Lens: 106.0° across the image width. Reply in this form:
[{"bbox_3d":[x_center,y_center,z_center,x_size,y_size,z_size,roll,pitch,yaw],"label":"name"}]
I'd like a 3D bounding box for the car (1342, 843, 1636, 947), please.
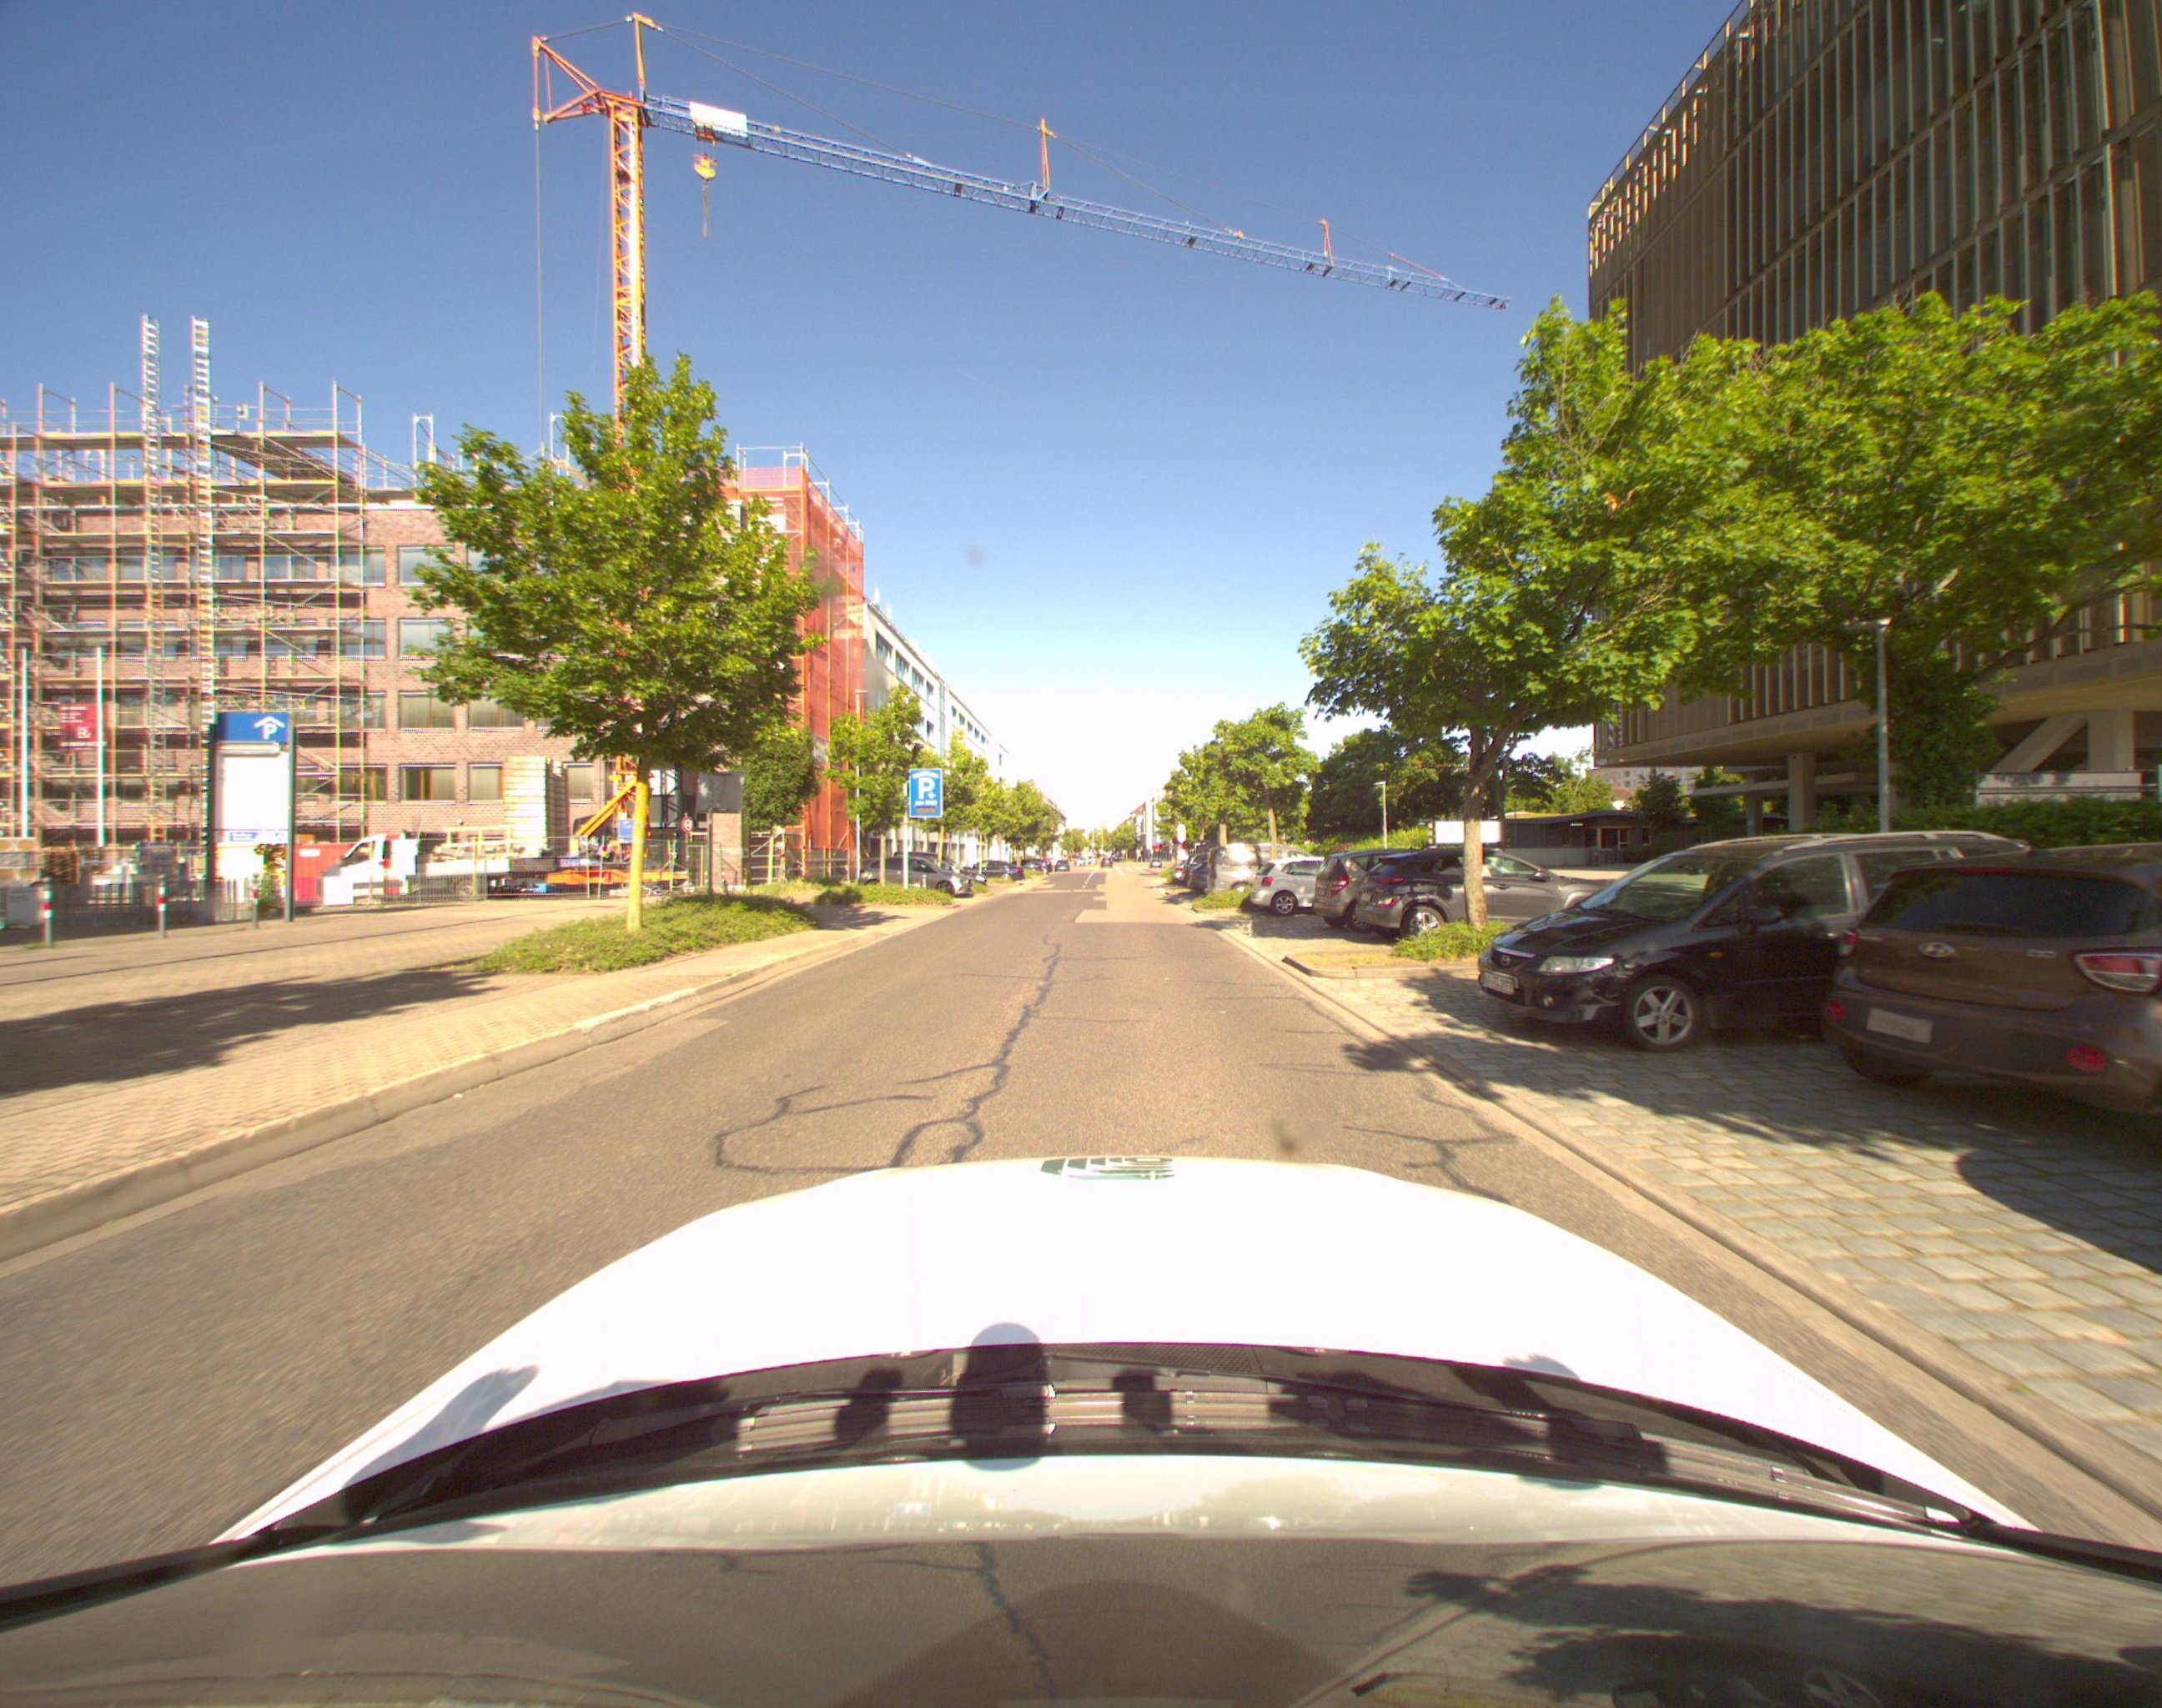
[{"bbox_3d":[6.636,0.653,13.608,3.972,1.538,1.862,-1,-1,2],"label":"car"}]

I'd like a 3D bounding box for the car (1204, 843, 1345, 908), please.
[{"bbox_3d":[5.894,0.625,25.116,3.972,1.879,1.683,-1,1,2],"label":"car"}]

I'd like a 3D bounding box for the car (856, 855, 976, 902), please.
[{"bbox_3d":[-6.340,0.930,31.568,4.247,1.665,1.599,-1,1,0],"label":"car"}]

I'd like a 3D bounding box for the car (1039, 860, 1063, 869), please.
[{"bbox_3d":[-5.420,1.860,147.824,4.083,1.474,1.818,-1,1,0],"label":"car"}]

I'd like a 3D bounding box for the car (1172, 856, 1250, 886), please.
[{"bbox_3d":[6.766,0.879,42.714,3.894,1.475,1.760,-1,-2,5],"label":"car"}]

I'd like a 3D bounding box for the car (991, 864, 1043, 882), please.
[{"bbox_3d":[-5.592,1.681,71.617,4.316,1.474,1.818,-1,1,1],"label":"car"}]

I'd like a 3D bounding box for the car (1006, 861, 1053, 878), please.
[{"bbox_3d":[-4.947,1.517,78.301,4.316,1.474,1.818,-1,1,1],"label":"car"}]

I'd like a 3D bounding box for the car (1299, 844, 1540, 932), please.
[{"bbox_3d":[6.584,0.647,16.216,3.972,1.582,2.032,-1,-1,2],"label":"car"}]

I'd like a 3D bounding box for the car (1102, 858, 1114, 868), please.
[{"bbox_3d":[4.122,1.332,125.460,1.804,1.474,4.113,-1,1,3],"label":"car"}]

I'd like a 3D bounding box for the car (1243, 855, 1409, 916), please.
[{"bbox_3d":[6.260,0.793,21.111,3.752,1.459,1.818,-1,-1,1],"label":"car"}]

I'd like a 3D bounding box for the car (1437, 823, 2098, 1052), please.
[{"bbox_3d":[5.480,0.618,6.917,4.130,1.580,1.741,-2,0,0],"label":"car"}]

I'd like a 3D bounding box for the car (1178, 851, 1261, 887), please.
[{"bbox_3d":[6.813,0.734,40.334,3.894,1.642,1.880,-1,1,5],"label":"car"}]

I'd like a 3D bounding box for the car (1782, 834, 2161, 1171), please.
[{"bbox_3d":[6.522,0.636,4.536,3.850,1.504,1.651,-1,0,-1],"label":"car"}]

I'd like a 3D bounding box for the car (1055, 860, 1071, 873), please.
[{"bbox_3d":[-2.147,1.509,98.784,1.805,1.474,4.111,-1,1,1],"label":"car"}]

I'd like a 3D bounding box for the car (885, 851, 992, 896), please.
[{"bbox_3d":[-6.272,0.846,36.200,4.313,1.861,1.819,-1,1,3],"label":"car"}]

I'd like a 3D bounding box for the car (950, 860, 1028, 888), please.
[{"bbox_3d":[-5.296,1.136,47.329,4.320,1.474,1.816,-1,1,-2],"label":"car"}]

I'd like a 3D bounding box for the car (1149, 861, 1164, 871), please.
[{"bbox_3d":[11.950,1.937,129.163,1.983,1.474,4.110,-1,1,0],"label":"car"}]

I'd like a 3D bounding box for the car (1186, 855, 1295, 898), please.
[{"bbox_3d":[5.963,0.833,30.852,3.894,1.474,1.798,-1,1,5],"label":"car"}]

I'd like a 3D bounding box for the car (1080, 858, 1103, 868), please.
[{"bbox_3d":[1.822,1.592,143.023,3.978,1.561,1.998,-1,1,-3],"label":"car"}]

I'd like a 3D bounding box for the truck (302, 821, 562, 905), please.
[{"bbox_3d":[-21.318,0.273,26.950,6.829,2.547,2.282,-1,1,3],"label":"truck"}]
